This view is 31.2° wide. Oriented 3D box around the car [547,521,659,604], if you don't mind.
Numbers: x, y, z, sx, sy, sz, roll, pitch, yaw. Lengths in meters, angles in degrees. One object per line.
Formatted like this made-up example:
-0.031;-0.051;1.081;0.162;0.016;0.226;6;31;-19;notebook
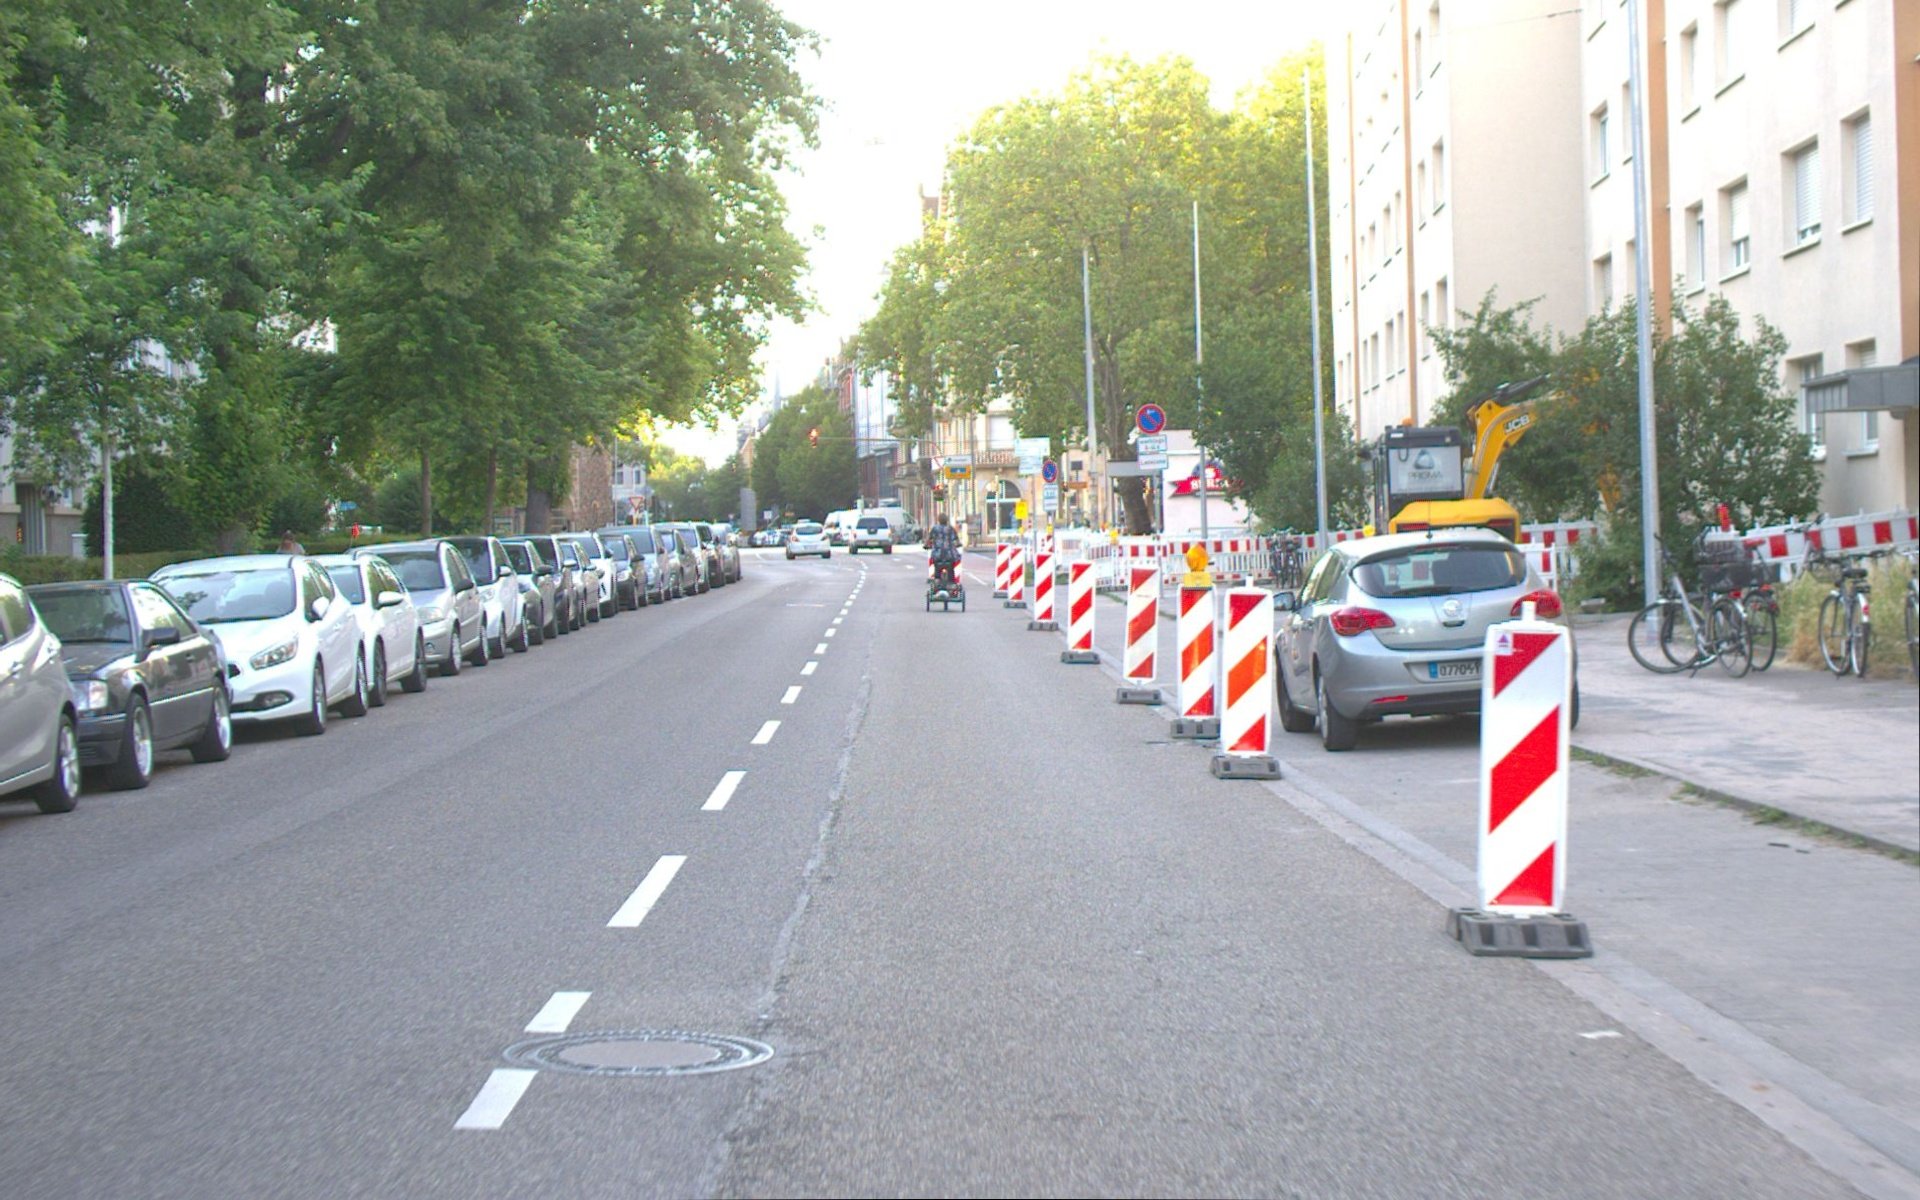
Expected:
-6.894;-0.750;66.713;1.707;1.447;3.843;-4;1;0;car

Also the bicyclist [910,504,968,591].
-0.407;-1.001;65.237;0.939;1.576;1.146;-4;1;-3;bicyclist

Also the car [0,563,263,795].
-6.035;0.491;23.467;1.674;1.327;4.580;-4;1;-2;car

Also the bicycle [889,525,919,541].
-3.530;-4.210;216.571;1.914;0.965;0.546;-1;1;-2;bicycle

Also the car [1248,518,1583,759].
3.281;0.211;25.596;1.776;1.485;4.573;-5;1;0;car

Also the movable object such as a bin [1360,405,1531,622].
6.246;-1.116;44.484;1.933;2.683;2.891;-1;1;4;movable object such as a bin

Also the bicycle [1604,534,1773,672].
6.407;0.007;30.325;0.556;1.168;1.817;-1;1;-20;bicycle

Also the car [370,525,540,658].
-6.413;-0.140;43.913;1.590;1.524;2.921;-4;1;1;car

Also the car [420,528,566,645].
-6.540;-0.224;48.497;1.590;1.461;4.103;-4;1;-3;car

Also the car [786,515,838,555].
-6.167;-2.733;143.595;1.866;1.580;4.000;-2;1;1;car

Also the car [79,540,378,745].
-5.993;0.290;28.593;1.692;1.454;4.146;-4;1;-3;car

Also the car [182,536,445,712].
-6.160;0.175;33.218;1.692;1.454;4.484;-4;1;-1;car

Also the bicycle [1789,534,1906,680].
7.422;0.040;28.810;0.556;1.168;1.817;-1;1;2;bicycle

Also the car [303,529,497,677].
-6.365;-0.008;39.417;1.590;1.500;3.800;-4;1;-1;car

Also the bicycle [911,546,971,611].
-0.367;-0.416;65.219;0.939;1.168;2.359;-4;1;-3;bicycle

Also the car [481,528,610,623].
-6.824;-0.435;56.913;1.590;1.399;4.181;-4;1;-1;car

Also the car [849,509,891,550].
-4.211;-3.302;160.597;1.866;1.808;4.001;-2;1;-2;car

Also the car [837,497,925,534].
-5.117;-5.497;222.766;5.808;2.280;2.071;-2;2;-44;car

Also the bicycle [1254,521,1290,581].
6.463;-1.030;71.248;0.451;1.217;1.911;-1;1;-3;bicycle

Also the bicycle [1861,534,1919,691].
7.508;0.075;26.763;0.556;1.168;1.817;-1;1;2;bicycle

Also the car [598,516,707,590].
-6.756;-1.057;75.934;1.733;1.492;4.270;-3;1;3;car

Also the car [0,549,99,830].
-5.934;0.516;18.699;1.674;1.454;3.706;-4;1;-3;car

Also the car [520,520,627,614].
-6.972;-0.615;62.319;1.590;1.533;4.207;-4;1;-3;car

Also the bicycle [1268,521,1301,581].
6.736;-1.030;71.342;0.398;1.217;1.911;-1;1;-3;bicycle

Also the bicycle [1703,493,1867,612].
8.627;-0.498;35.951;1.592;1.217;0.485;-1;1;-7;bicycle

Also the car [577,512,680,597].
-6.832;-0.965;71.129;1.707;1.595;4.117;-4;1;-1;car

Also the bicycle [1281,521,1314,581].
6.988;-1.028;71.277;0.398;1.217;1.826;-1;1;-3;bicycle

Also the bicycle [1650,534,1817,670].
6.916;0.001;30.833;0.626;1.168;1.817;-1;1;-17;bicycle

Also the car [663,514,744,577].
-7.172;-1.546;96.483;1.953;1.611;4.606;-3;1;-1;car

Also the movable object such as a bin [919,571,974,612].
-0.253;-0.155;63.552;0.939;0.686;0.993;-4;1;-3;movable object such as a bin

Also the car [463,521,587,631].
-6.651;-0.392;52.767;1.523;1.524;3.165;-4;1;-2;car

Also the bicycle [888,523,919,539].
-3.564;-4.326;216.550;1.914;0.965;0.546;-1;1;-2;bicycle

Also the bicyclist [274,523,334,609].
-10.807;-0.560;56.622;0.808;1.399;0.974;0;1;-1;bicyclist
